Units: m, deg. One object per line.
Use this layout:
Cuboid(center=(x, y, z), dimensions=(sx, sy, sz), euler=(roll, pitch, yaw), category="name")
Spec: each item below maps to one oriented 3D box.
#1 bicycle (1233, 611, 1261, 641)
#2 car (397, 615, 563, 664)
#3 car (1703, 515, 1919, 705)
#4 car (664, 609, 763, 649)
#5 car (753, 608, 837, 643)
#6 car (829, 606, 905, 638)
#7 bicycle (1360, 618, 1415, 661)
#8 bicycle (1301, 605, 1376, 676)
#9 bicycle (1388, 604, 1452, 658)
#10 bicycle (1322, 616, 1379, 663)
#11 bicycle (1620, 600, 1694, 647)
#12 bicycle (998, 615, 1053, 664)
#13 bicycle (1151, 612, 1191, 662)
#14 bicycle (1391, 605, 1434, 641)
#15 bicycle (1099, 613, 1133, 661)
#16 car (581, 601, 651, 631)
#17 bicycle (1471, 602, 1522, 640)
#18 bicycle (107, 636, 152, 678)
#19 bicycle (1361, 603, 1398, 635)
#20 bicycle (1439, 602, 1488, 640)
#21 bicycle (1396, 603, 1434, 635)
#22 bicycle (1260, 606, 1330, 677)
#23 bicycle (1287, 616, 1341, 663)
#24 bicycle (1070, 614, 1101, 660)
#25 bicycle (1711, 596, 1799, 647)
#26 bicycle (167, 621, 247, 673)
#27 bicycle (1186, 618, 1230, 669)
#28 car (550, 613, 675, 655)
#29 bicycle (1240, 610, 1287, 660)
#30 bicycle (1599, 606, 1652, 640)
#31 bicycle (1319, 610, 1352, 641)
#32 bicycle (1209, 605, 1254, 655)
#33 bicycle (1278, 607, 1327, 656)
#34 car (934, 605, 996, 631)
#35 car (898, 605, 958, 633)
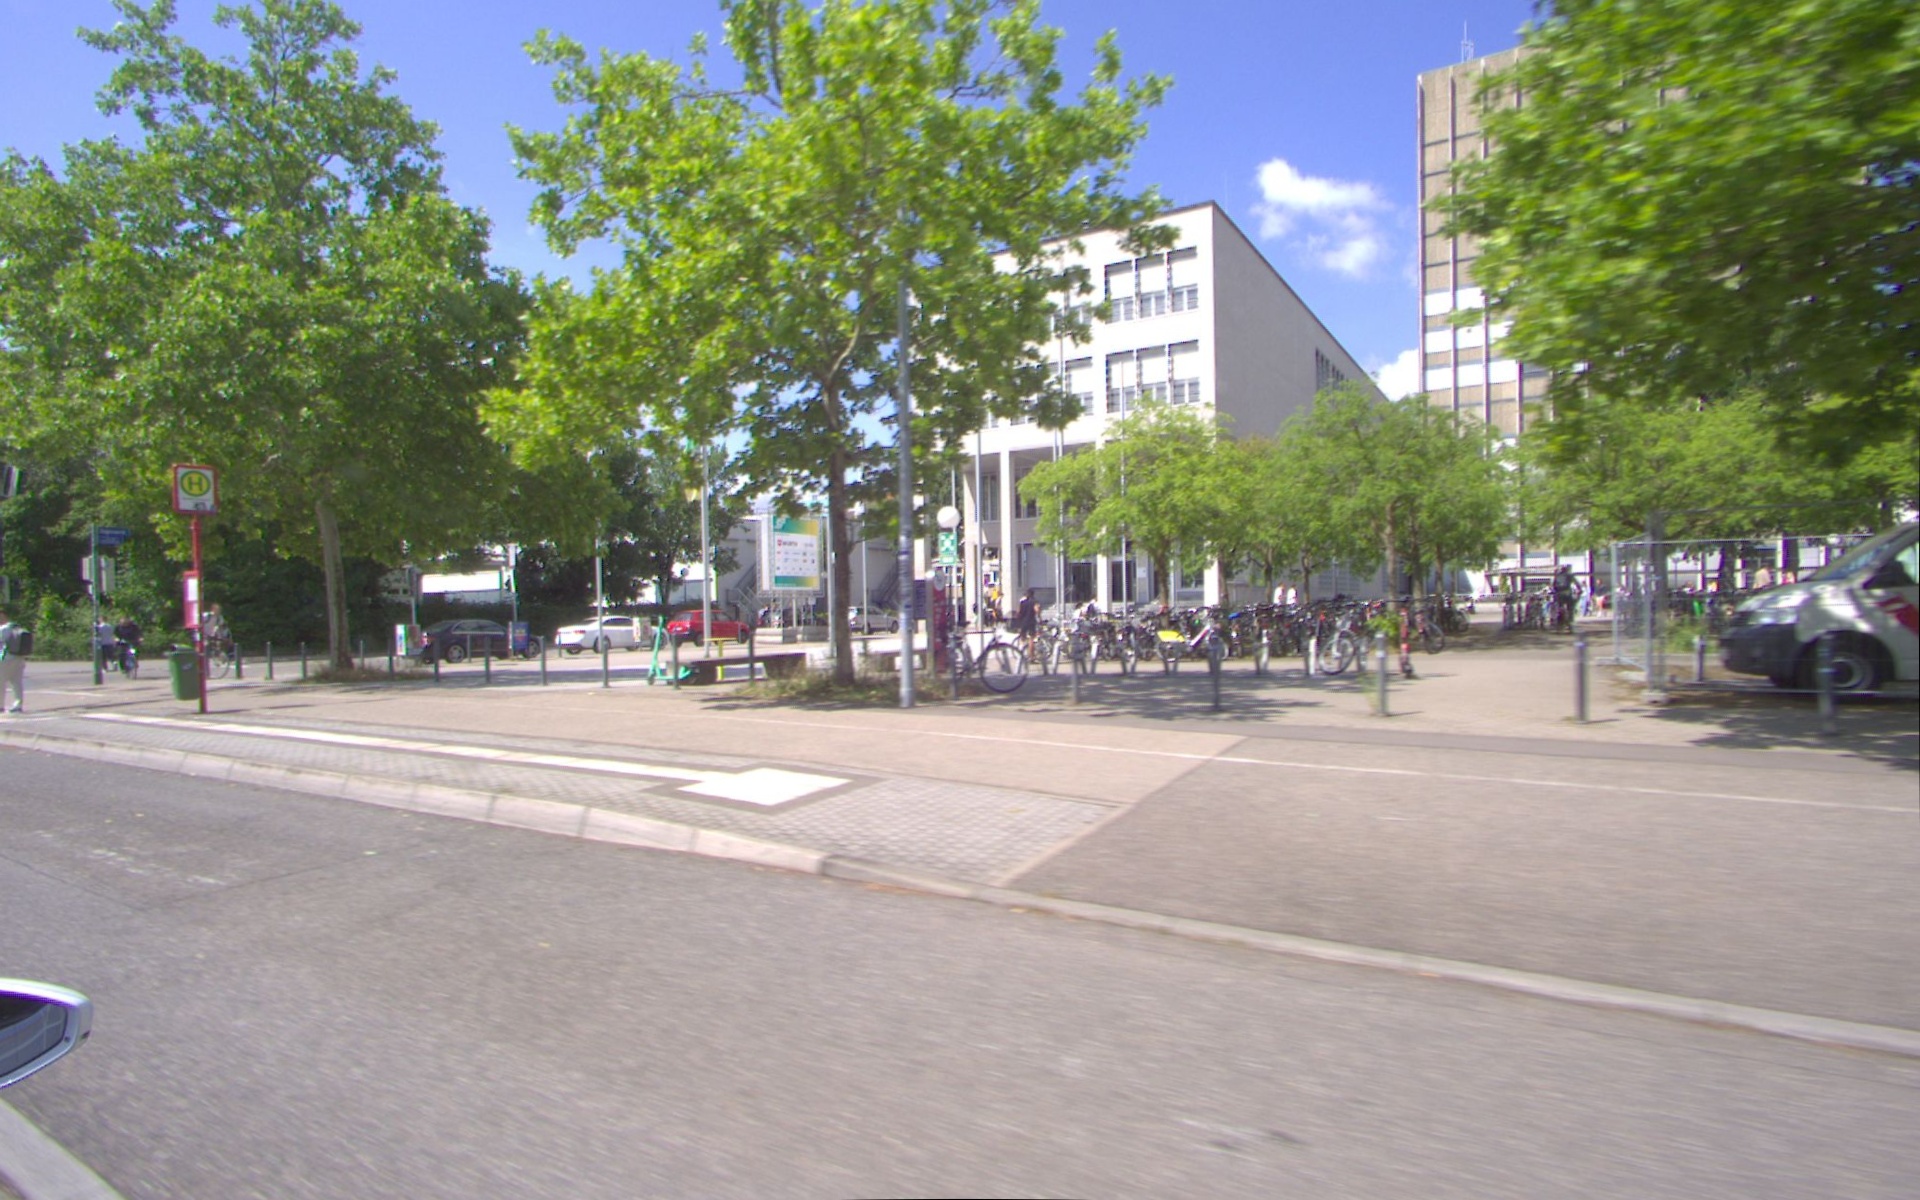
Cuboid(center=(11.109, 1.026, 38.838), dimensions=(0.592, 1.113, 1.769), euler=(0, -2, 1), category="bicycle")
Cuboid(center=(-16.130, 1.295, 33.909), dimensions=(1.699, 1.418, 4.923), euler=(-3, -2, 31), category="car")
Cuboid(center=(10.839, 0.091, 10.320), dimensions=(4.867, 1.889, 1.896), euler=(-1, -1, 29), category="car")
Cuboid(center=(-10.497, 1.215, 42.836), dimensions=(1.597, 1.516, 4.124), euler=(-3, -1, 32), category="car")
Cuboid(center=(-7.763, 1.199, 47.418), dimensions=(1.700, 1.549, 3.979), euler=(-1, -1, 32), category="car")
Cuboid(center=(-4.783, 1.118, 52.221), dimensions=(1.699, 1.549, 4.547), euler=(-3, -1, 28), category="car")
Cuboid(center=(9.286, 0.845, 21.823), dimensions=(0.475, 0.880, 1.768), euler=(0, 0, 1), category="bicycle")
Cuboid(center=(6.196, 0.667, 16.474), dimensions=(0.592, 1.113, 1.769), euler=(0, -2, 1), category="bicycle")
Cuboid(center=(9.903, 0.677, 21.625), dimensions=(0.592, 1.113, 1.769), euler=(0, -2, 1), category="bicycle")
Cuboid(center=(8.494, 0.842, 21.841), dimensions=(0.592, 0.967, 1.767), euler=(0, 0, 1), category="bicycle")
Cuboid(center=(17.148, 0.600, 24.674), dimensions=(0.592, 1.113, 1.769), euler=(0, -2, 1), category="bicycle")
Cuboid(center=(1.595, 0.938, 23.929), dimensions=(0.887, 1.092, 2.153), euler=(-2, -2, 15), category="bicycle")
Cuboid(center=(4.872, 0.849, 23.203), dimensions=(0.592, 1.113, 1.769), euler=(0, -2, 1), category="bicycle")
Cuboid(center=(14.392, 0.743, 31.893), dimensions=(0.592, 1.113, 1.769), euler=(0, -2, 1), category="bicycle")
Cuboid(center=(3.753, 0.905, 24.173), dimensions=(0.592, 1.113, 1.769), euler=(0, -2, 1), category="bicycle")
Cuboid(center=(-23.616, 1.120, 68.662), dimensions=(4.868, 2.012, 1.989), euler=(-1, -1, 34), category="car")
Cuboid(center=(15.973, 0.639, 29.852), dimensions=(0.592, 1.113, 1.769), euler=(0, -2, 1), category="bicycle")
Cuboid(center=(-23.307, 1.578, 28.104), dimensions=(1.871, 1.087, 0.810), euler=(0, -1, 45), category="bicycle")
Cuboid(center=(15.130, 0.692, 36.172), dimensions=(0.592, 1.113, 1.769), euler=(0, -2, 1), category="bicycle")
Cuboid(center=(15.129, 0.652, 30.111), dimensions=(0.592, 1.113, 1.769), euler=(0, -2, 1), category="bicycle")
Cuboid(center=(16.361, 0.703, 36.040), dimensions=(0.592, 1.113, 1.769), euler=(0, -2, 1), category="bicycle")
Cuboid(center=(5.513, 0.683, 16.587), dimensions=(0.592, 1.113, 1.769), euler=(0, -2, 1), category="bicycle")
Cuboid(center=(7.703, 0.845, 21.859), dimensions=(0.592, 0.967, 1.767), euler=(0, 0, 1), category="bicycle")
Cuboid(center=(3.102, 0.920, 24.857), dimensions=(0.592, 1.113, 1.769), euler=(0, -2, 1), category="bicycle")
Cuboid(center=(18.009, 0.503, 22.733), dimensions=(0.592, 1.113, 1.769), euler=(0, -2, 1), category="bicycle")
Cuboid(center=(-19.459, 1.206, 25.870), dimensions=(1.840, 1.313, 0.662), euler=(-1, -1, 16), category="bicycle")
Cuboid(center=(5.676, 0.981, 22.975), dimensions=(0.592, 1.113, 1.768), euler=(0, 0, 1), category="bicycle")
Cuboid(center=(-13.285, 1.288, 38.527), dimensions=(1.700, 1.417, 4.416), euler=(-4, -2, 31), category="car")
Cuboid(center=(7.047, 0.790, 23.309), dimensions=(0.592, 1.113, 1.767), euler=(0, 0, 1), category="bicycle")
Cuboid(center=(22.116, 0.777, 33.334), dimensions=(0.592, 1.113, 1.769), euler=(0, -2, 1), category="bicycle")
Cuboid(center=(14.099, 0.969, 37.619), dimensions=(0.592, 1.113, 1.769), euler=(0, -2, 1), category="bicycle")
Cuboid(center=(6.320, 0.678, 23.400), dimensions=(0.592, 1.113, 1.768), euler=(-1, 0, 1), category="bicycle")
Cuboid(center=(8.122, 0.721, 23.800), dimensions=(0.592, 1.113, 1.767), euler=(0, 0, 1), category="bicycle")
Cuboid(center=(0.355, 1.100, 61.815), dimensions=(1.845, 1.484, 4.497), euler=(-1, 0, 31), category="car")
Cuboid(center=(-1.815, 1.093, 58.034), dimensions=(1.595, 1.516, 3.988), euler=(-1, 0, 30), category="car")
